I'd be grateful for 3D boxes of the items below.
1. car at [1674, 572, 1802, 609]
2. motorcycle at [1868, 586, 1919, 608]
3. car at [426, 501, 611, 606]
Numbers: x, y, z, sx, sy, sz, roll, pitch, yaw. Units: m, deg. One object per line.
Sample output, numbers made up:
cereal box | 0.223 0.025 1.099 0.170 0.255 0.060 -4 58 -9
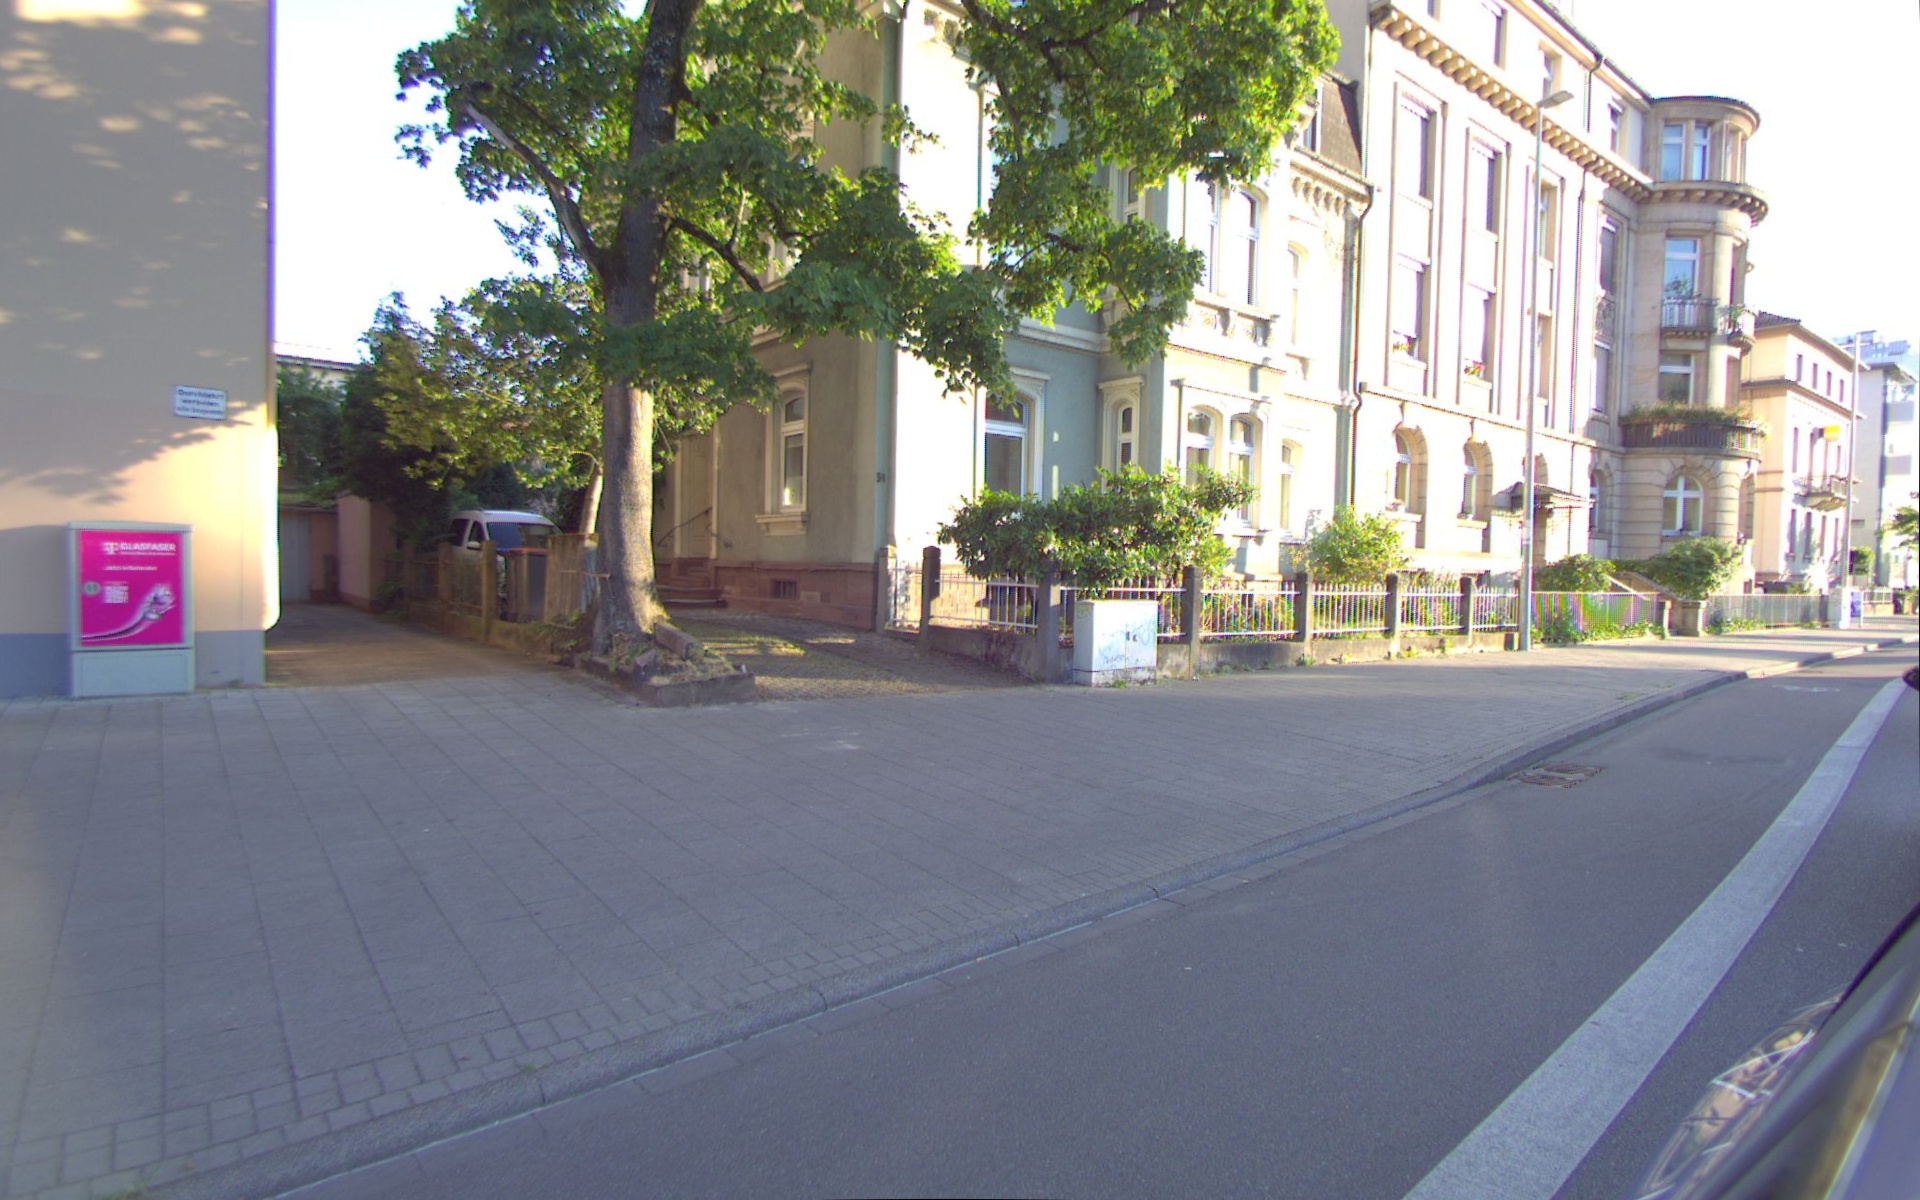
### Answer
car | 34.048 -0.455 44.356 1.903 1.499 4.098 0 2 -38
motorcycle | 48.305 -0.168 52.365 0.564 1.110 1.851 0 1 -33
car | -8.646 -0.945 19.593 1.795 1.778 4.513 1 3 -44
